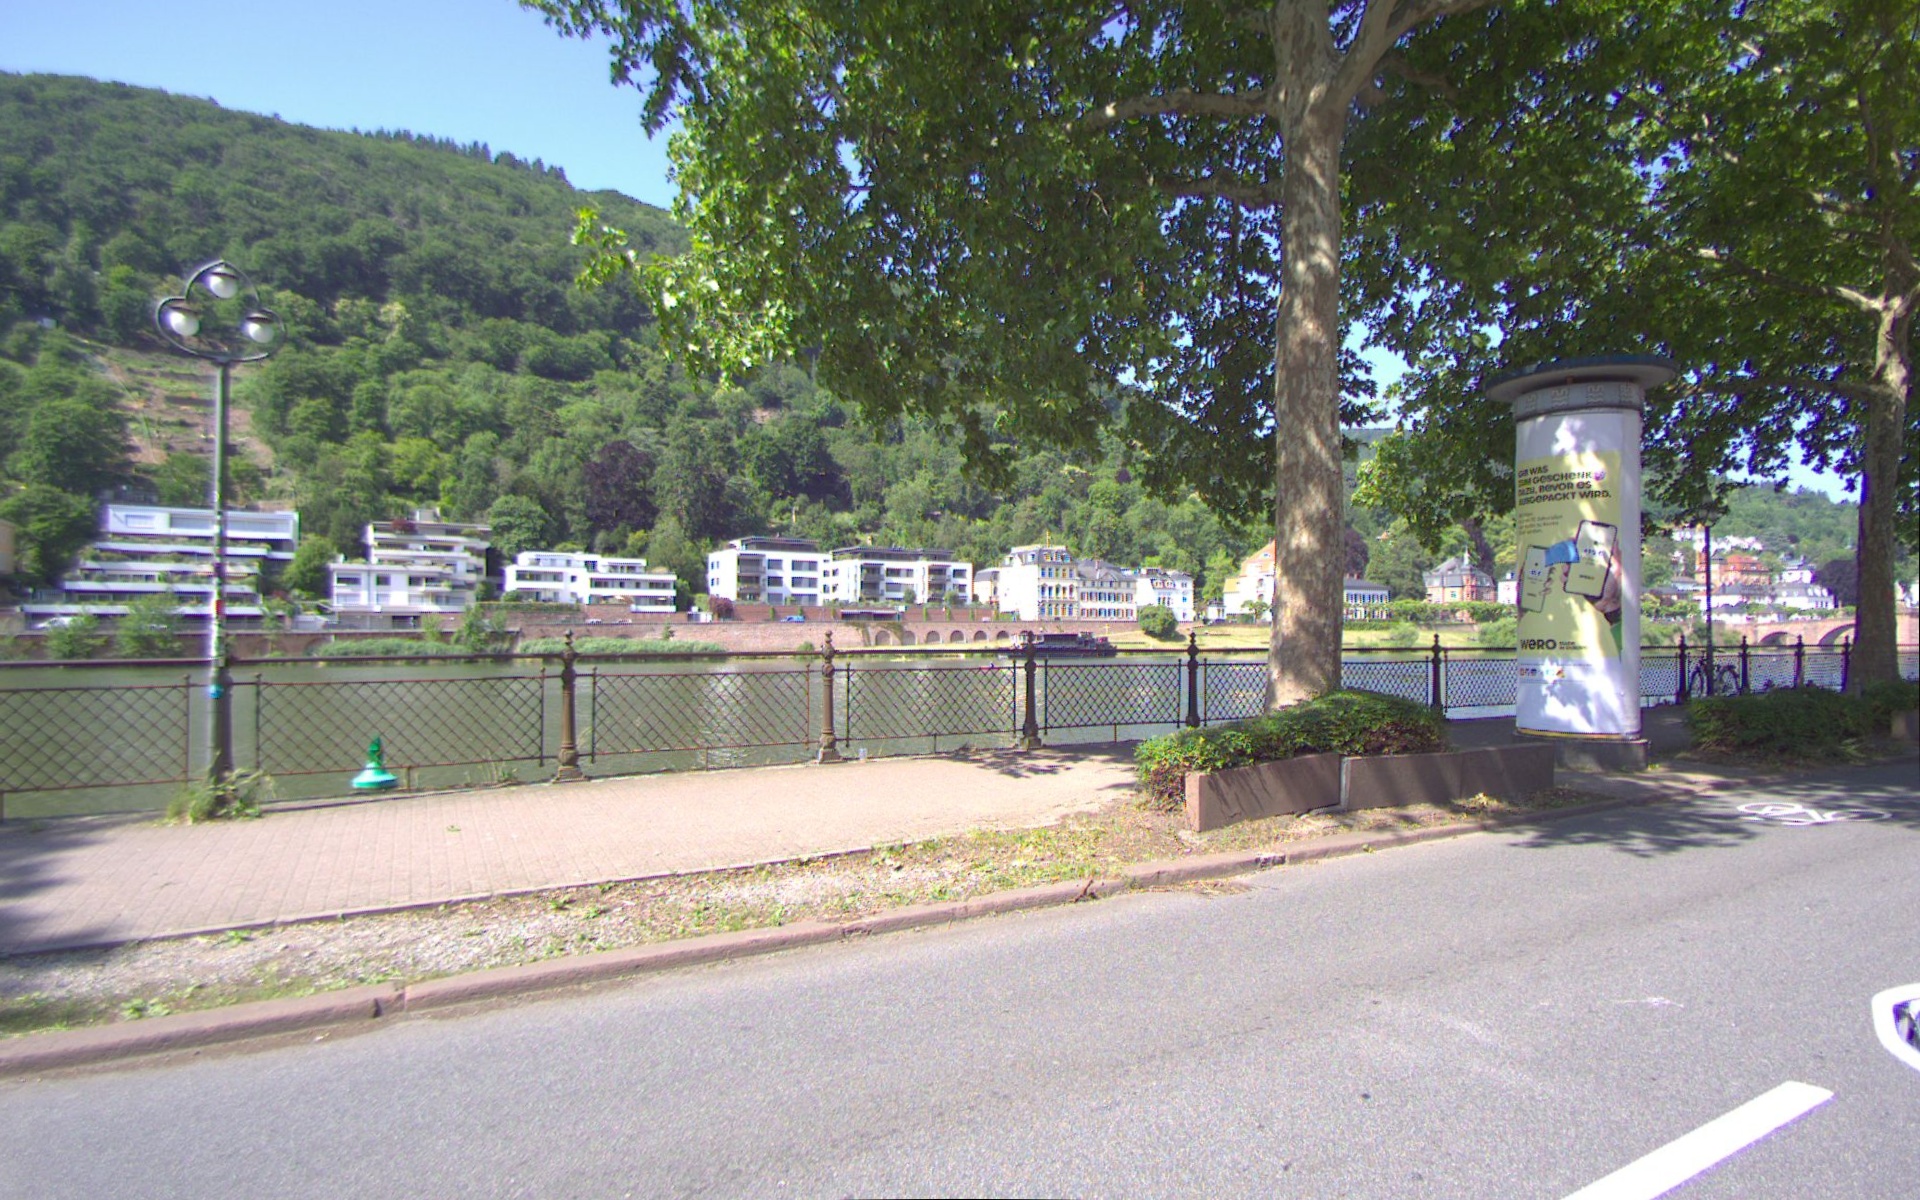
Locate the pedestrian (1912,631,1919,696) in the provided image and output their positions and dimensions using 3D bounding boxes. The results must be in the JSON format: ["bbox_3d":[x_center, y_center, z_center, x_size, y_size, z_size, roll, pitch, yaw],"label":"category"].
[{"bbox_3d":[20.795,1.361,21.503,0.411,1.381,0.477,1,0,-26],"label":"pedestrian"}]

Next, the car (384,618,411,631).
[{"bbox_3d":[-95.296,4.197,170.167,3.953,2.041,1.984,-1,1,-30],"label":"car"}]

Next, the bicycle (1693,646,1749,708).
[{"bbox_3d":[14.364,1.441,18.961,1.281,1.106,0.357,1,2,-31],"label":"bicycle"}]
